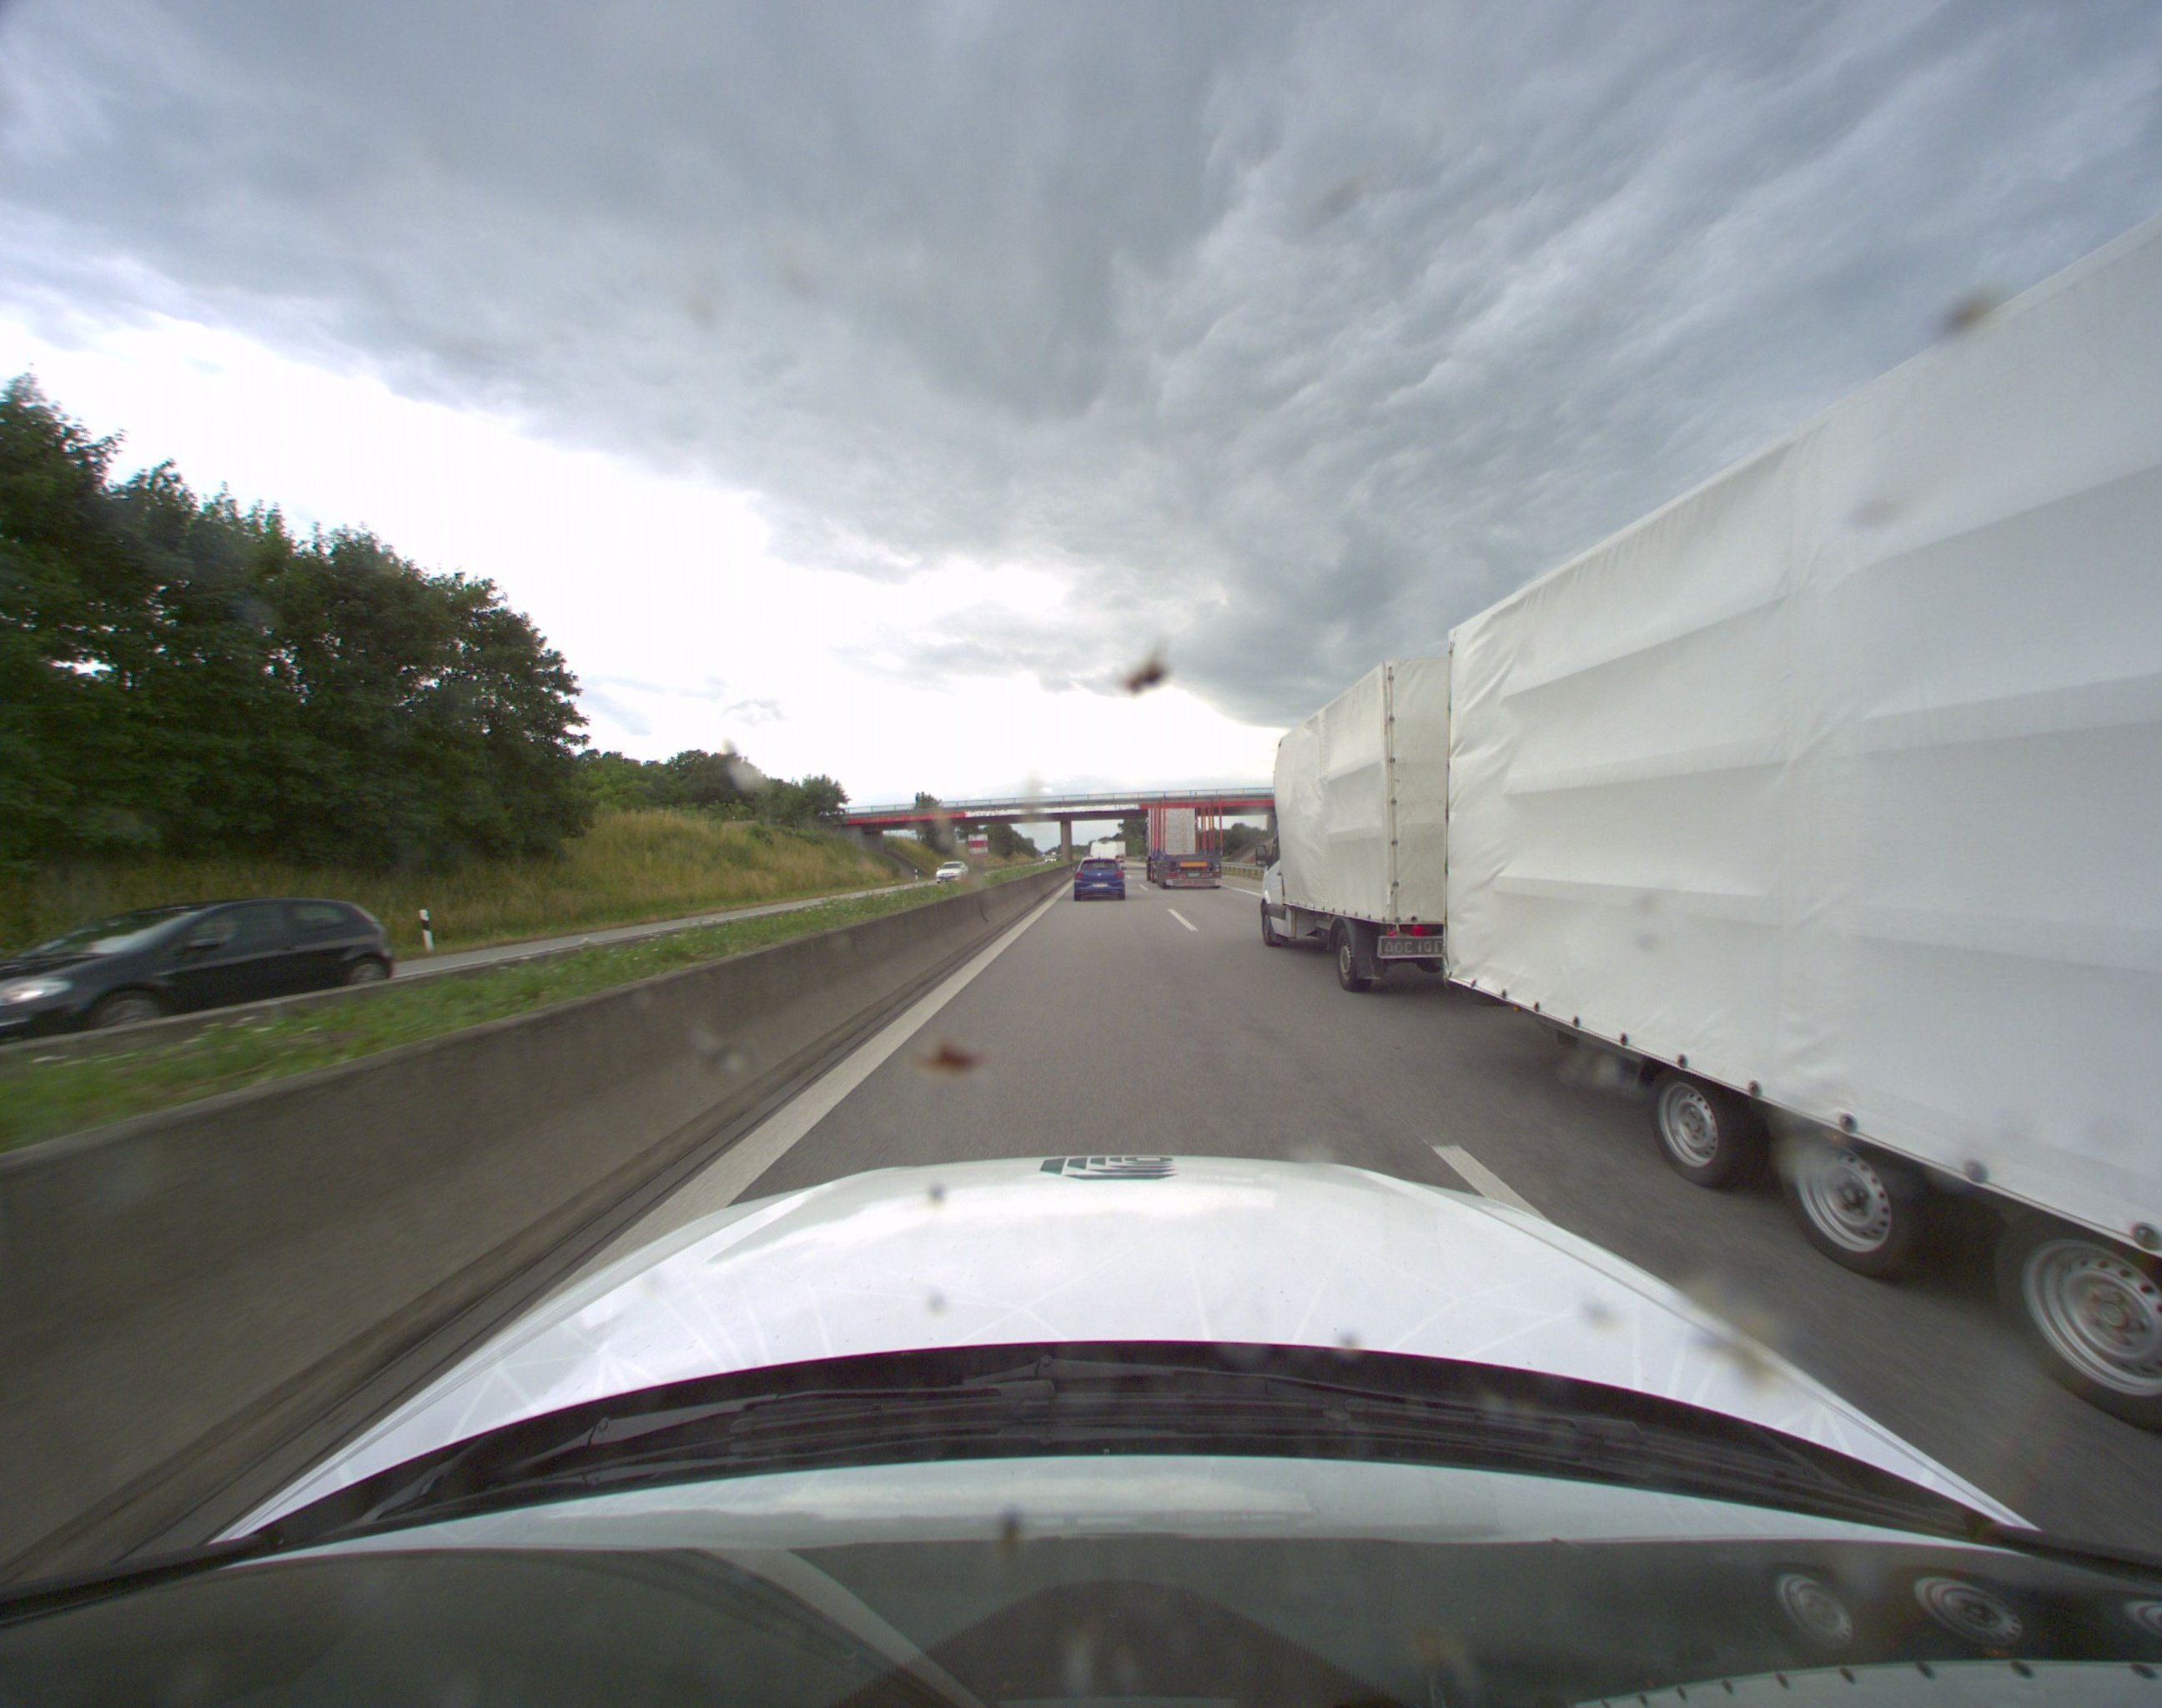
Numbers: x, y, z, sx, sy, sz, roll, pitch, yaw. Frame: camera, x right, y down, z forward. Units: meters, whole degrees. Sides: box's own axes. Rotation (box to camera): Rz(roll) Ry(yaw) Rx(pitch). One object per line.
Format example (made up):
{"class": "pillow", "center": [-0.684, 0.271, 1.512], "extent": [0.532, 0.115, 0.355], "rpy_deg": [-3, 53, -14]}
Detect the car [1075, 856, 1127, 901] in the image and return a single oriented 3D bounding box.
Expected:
{"class": "car", "center": [0.687, 0.786, 28.057], "extent": [1.658, 1.407, 3.649], "rpy_deg": [-1, 0, 1]}

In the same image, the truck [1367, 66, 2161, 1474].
{"class": "truck", "center": [3.687, -0.195, 3.475], "extent": [2.407, 3.222, 7.143], "rpy_deg": [-1, 0, 0]}

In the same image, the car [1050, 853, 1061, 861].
{"class": "car", "center": [-5.142, 0.546, 167.345], "extent": [1.888, 1.461, 4.544], "rpy_deg": [-4, 0, 2]}

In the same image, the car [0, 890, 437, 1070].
{"class": "car", "center": [-9.974, 1.251, 9.328], "extent": [1.640, 1.378, 4.237], "rpy_deg": [-4, 0, 2]}

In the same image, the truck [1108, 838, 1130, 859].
{"class": "truck", "center": [7.071, -0.923, 152.938], "extent": [3.103, 3.689, 9.313], "rpy_deg": [-3, 0, -3]}

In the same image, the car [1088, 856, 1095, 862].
{"class": "car", "center": [2.905, 1.290, 226.220], "extent": [1.986, 1.684, 4.002], "rpy_deg": [-1, 0, 2]}

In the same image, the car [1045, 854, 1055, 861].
{"class": "car", "center": [-7.471, 0.857, 196.488], "extent": [1.888, 1.461, 4.544], "rpy_deg": [-4, 0, 2]}

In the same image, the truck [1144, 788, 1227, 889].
{"class": "truck", "center": [4.701, -0.682, 38.879], "extent": [2.664, 4.045, 11.109], "rpy_deg": [-2, 0, 1]}

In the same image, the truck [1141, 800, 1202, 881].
{"class": "truck", "center": [4.828, -0.733, 44.331], "extent": [2.664, 4.045, 5.513], "rpy_deg": [-2, 0, 1]}

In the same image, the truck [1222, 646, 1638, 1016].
{"class": "truck", "center": [3.723, -0.208, 10.841], "extent": [2.422, 3.243, 7.246], "rpy_deg": [-1, 0, 0]}

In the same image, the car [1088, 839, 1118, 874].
{"class": "car", "center": [1.725, 0.165, 62.545], "extent": [2.122, 2.482, 5.842], "rpy_deg": [-1, 0, 2]}

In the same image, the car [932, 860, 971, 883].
{"class": "car", "center": [-9.425, 1.242, 59.415], "extent": [1.888, 1.461, 4.544], "rpy_deg": [-4, 0, 2]}
